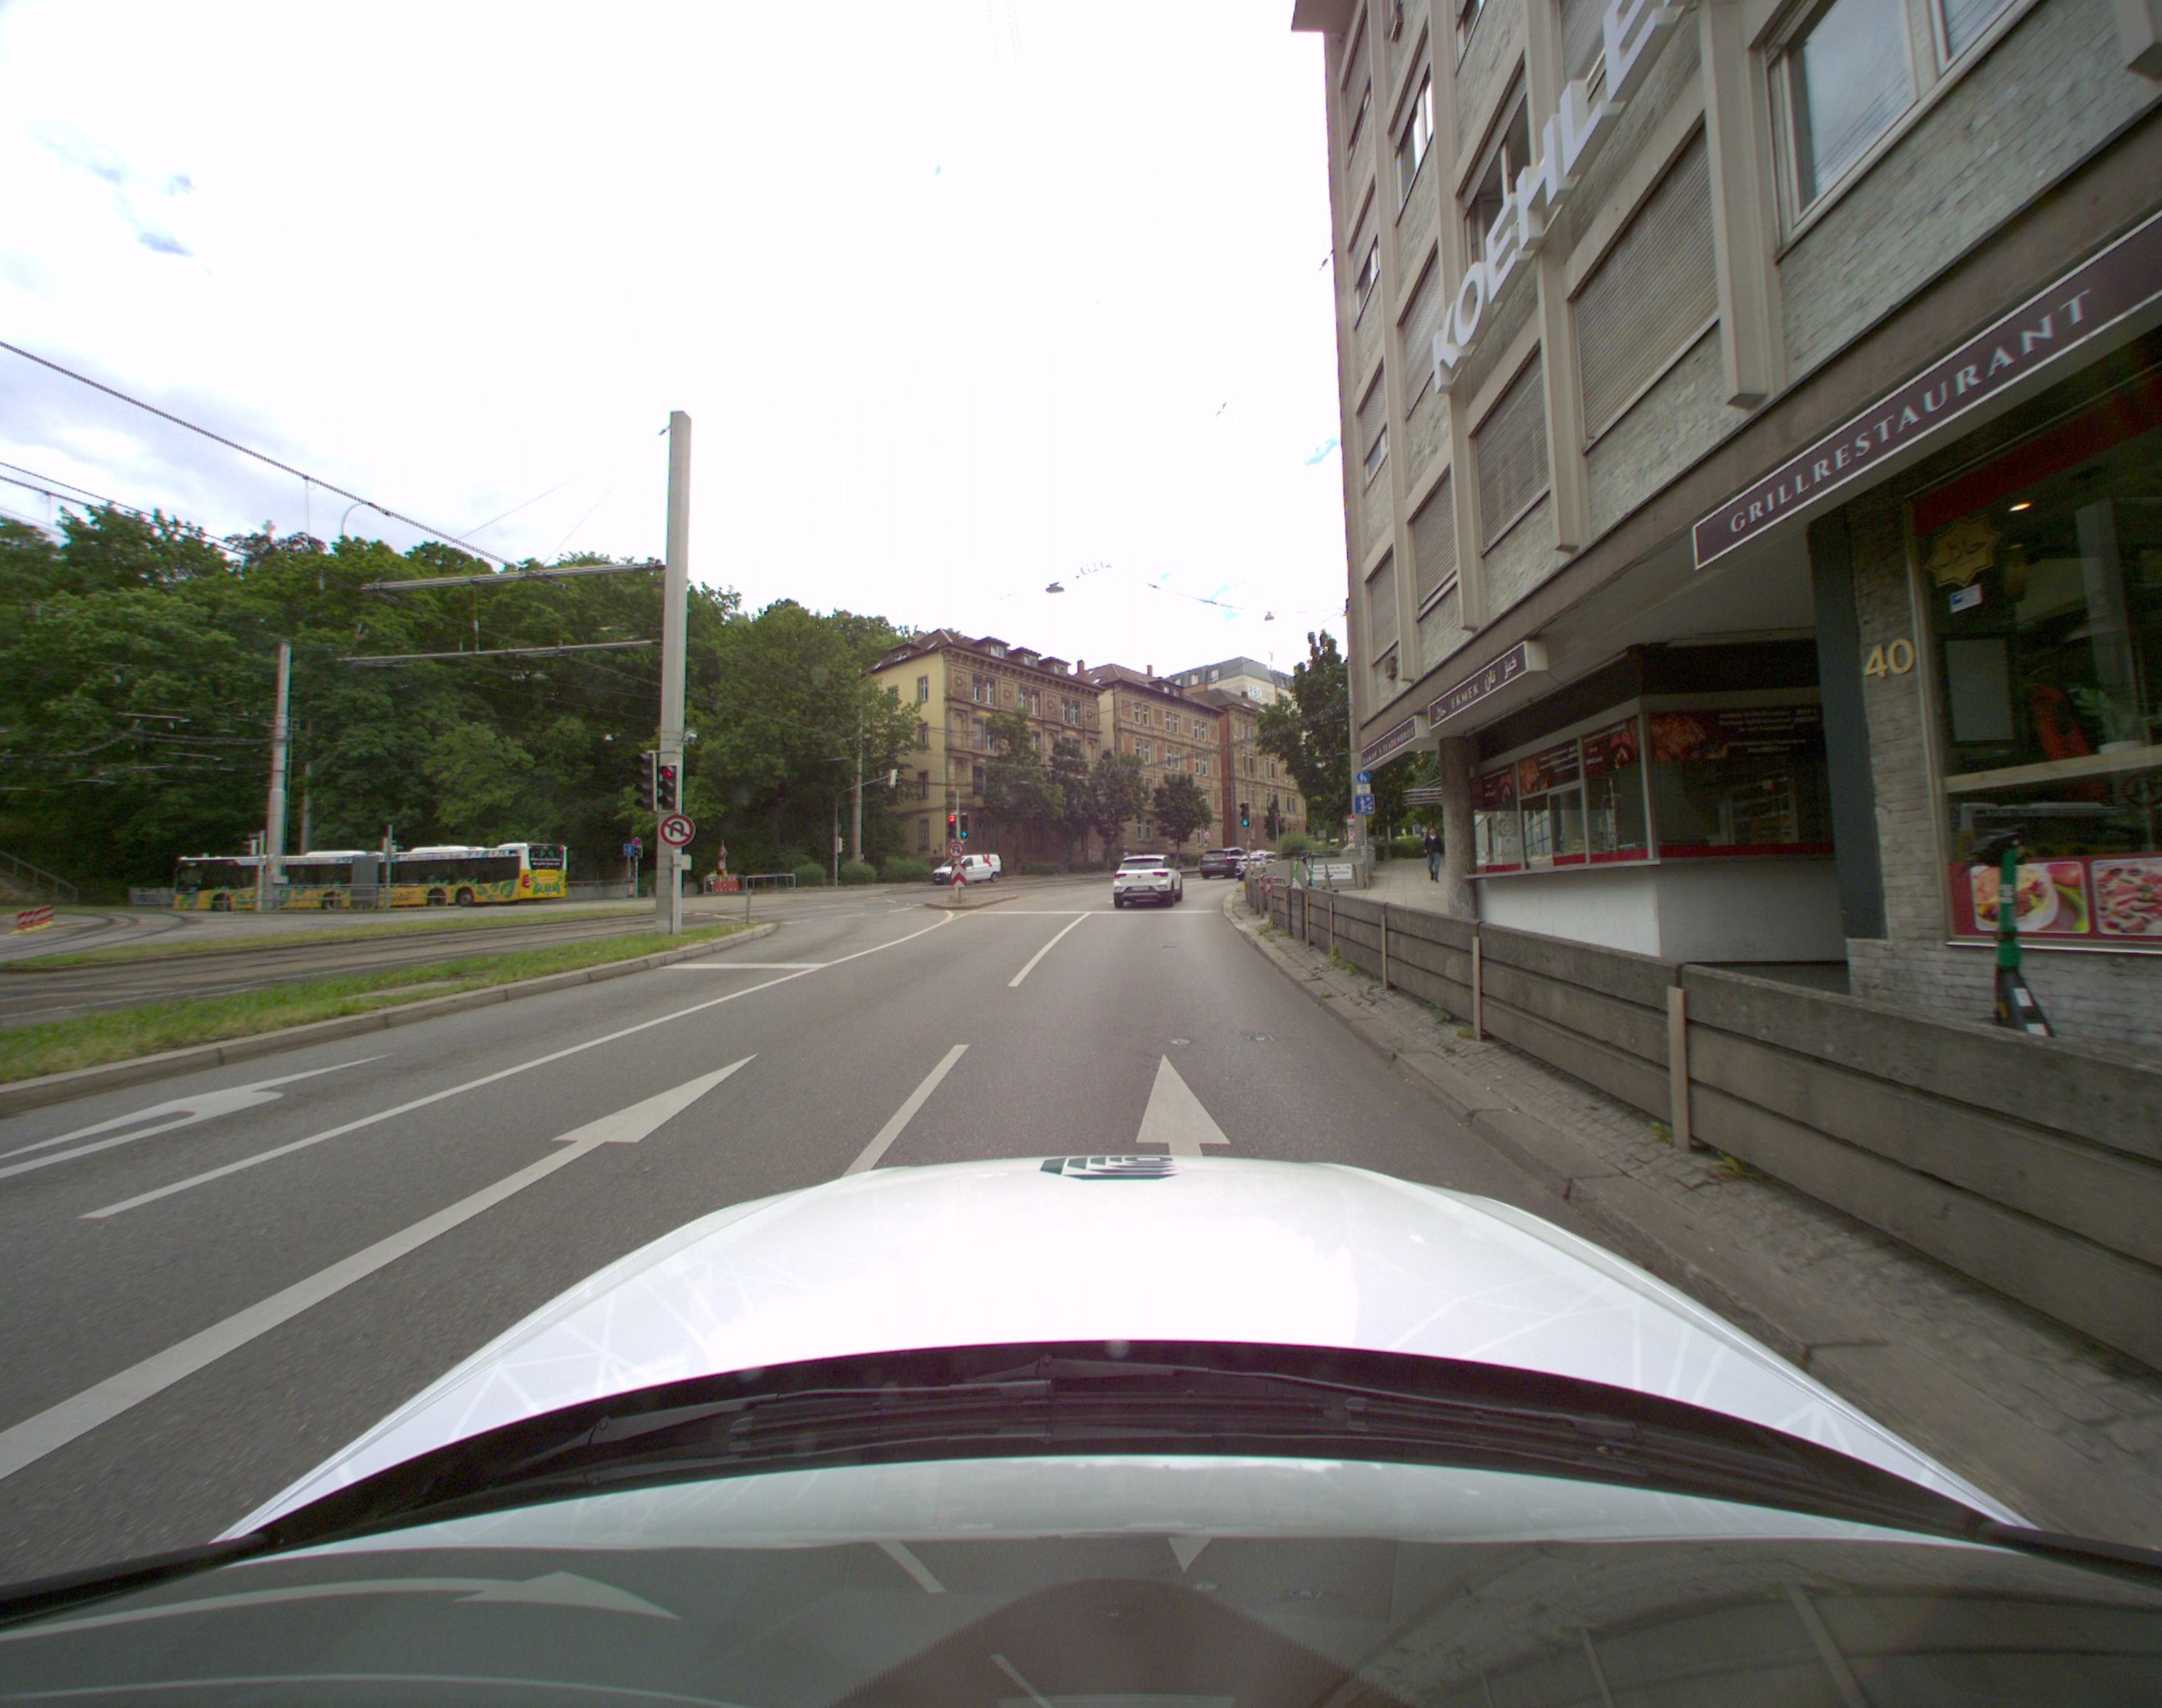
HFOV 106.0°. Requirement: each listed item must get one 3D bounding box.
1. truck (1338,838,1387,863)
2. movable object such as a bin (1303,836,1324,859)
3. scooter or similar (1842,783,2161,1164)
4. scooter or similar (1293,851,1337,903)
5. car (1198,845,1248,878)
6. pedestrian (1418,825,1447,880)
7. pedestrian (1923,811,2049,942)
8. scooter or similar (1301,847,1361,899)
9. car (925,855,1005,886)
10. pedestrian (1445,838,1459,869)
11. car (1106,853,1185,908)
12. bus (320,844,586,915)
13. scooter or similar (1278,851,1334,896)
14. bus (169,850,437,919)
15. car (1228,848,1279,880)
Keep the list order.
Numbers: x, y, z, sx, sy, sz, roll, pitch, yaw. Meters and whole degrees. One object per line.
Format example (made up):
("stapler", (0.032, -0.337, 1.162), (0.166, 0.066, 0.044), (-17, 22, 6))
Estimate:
("truck", (35.317, -0.464, 102.017), (2.894, 2.506, 7.197), (14, 8, 40))
("movable object such as a bin", (30.050, -0.846, 105.184), (1.974, 2.838, 2.043), (-4, -2, 35))
("scooter or similar", (4.380, 0.459, 3.741), (0.665, 1.475, 1.179), (-1, -1, 3))
("scooter or similar", (5.607, 0.545, 19.522), (1.013, 1.182, 0.373), (-1, -1, -28))
("car", (8.040, 0.384, 45.828), (1.823, 1.740, 4.022), (-1, 0, 23))
("pedestrian", (11.964, -0.065, 27.687), (0.826, 1.810, 1.157), (1, 1, 26))
("pedestrian", (8.221, 0.199, 7.422), (0.504, 1.145, 0.553), (-2, -1, 5))
("scooter or similar", (6.448, 0.475, 20.969), (1.449, 1.254, 0.552), (-3, 0, -28))
("car", (-7.501, 1.054, 53.153), (1.974, 1.850, 5.024), (-4, -2, 41))
("pedestrian", (21.742, -0.029, 47.750), (0.667, 1.794, 0.612), (-2, 0, 21))
("car", (2.104, 0.789, 25.498), (1.925, 1.566, 4.059), (-1, -1, 12))
("bus", (-31.312, 1.264, 40.784), (11.446, 3.029, 3.398), (-2, 0, 8))
("scooter or similar", (6.249, 0.527, 22.620), (1.449, 1.182, 0.577), (-1, -1, -28))
("bus", (-39.693, 1.523, 41.746), (11.267, 3.043, 3.330), (-2, 0, 6))
("car", (8.975, 0.524, 42.096), (1.886, 1.574, 3.855), (0, -1, 23))
